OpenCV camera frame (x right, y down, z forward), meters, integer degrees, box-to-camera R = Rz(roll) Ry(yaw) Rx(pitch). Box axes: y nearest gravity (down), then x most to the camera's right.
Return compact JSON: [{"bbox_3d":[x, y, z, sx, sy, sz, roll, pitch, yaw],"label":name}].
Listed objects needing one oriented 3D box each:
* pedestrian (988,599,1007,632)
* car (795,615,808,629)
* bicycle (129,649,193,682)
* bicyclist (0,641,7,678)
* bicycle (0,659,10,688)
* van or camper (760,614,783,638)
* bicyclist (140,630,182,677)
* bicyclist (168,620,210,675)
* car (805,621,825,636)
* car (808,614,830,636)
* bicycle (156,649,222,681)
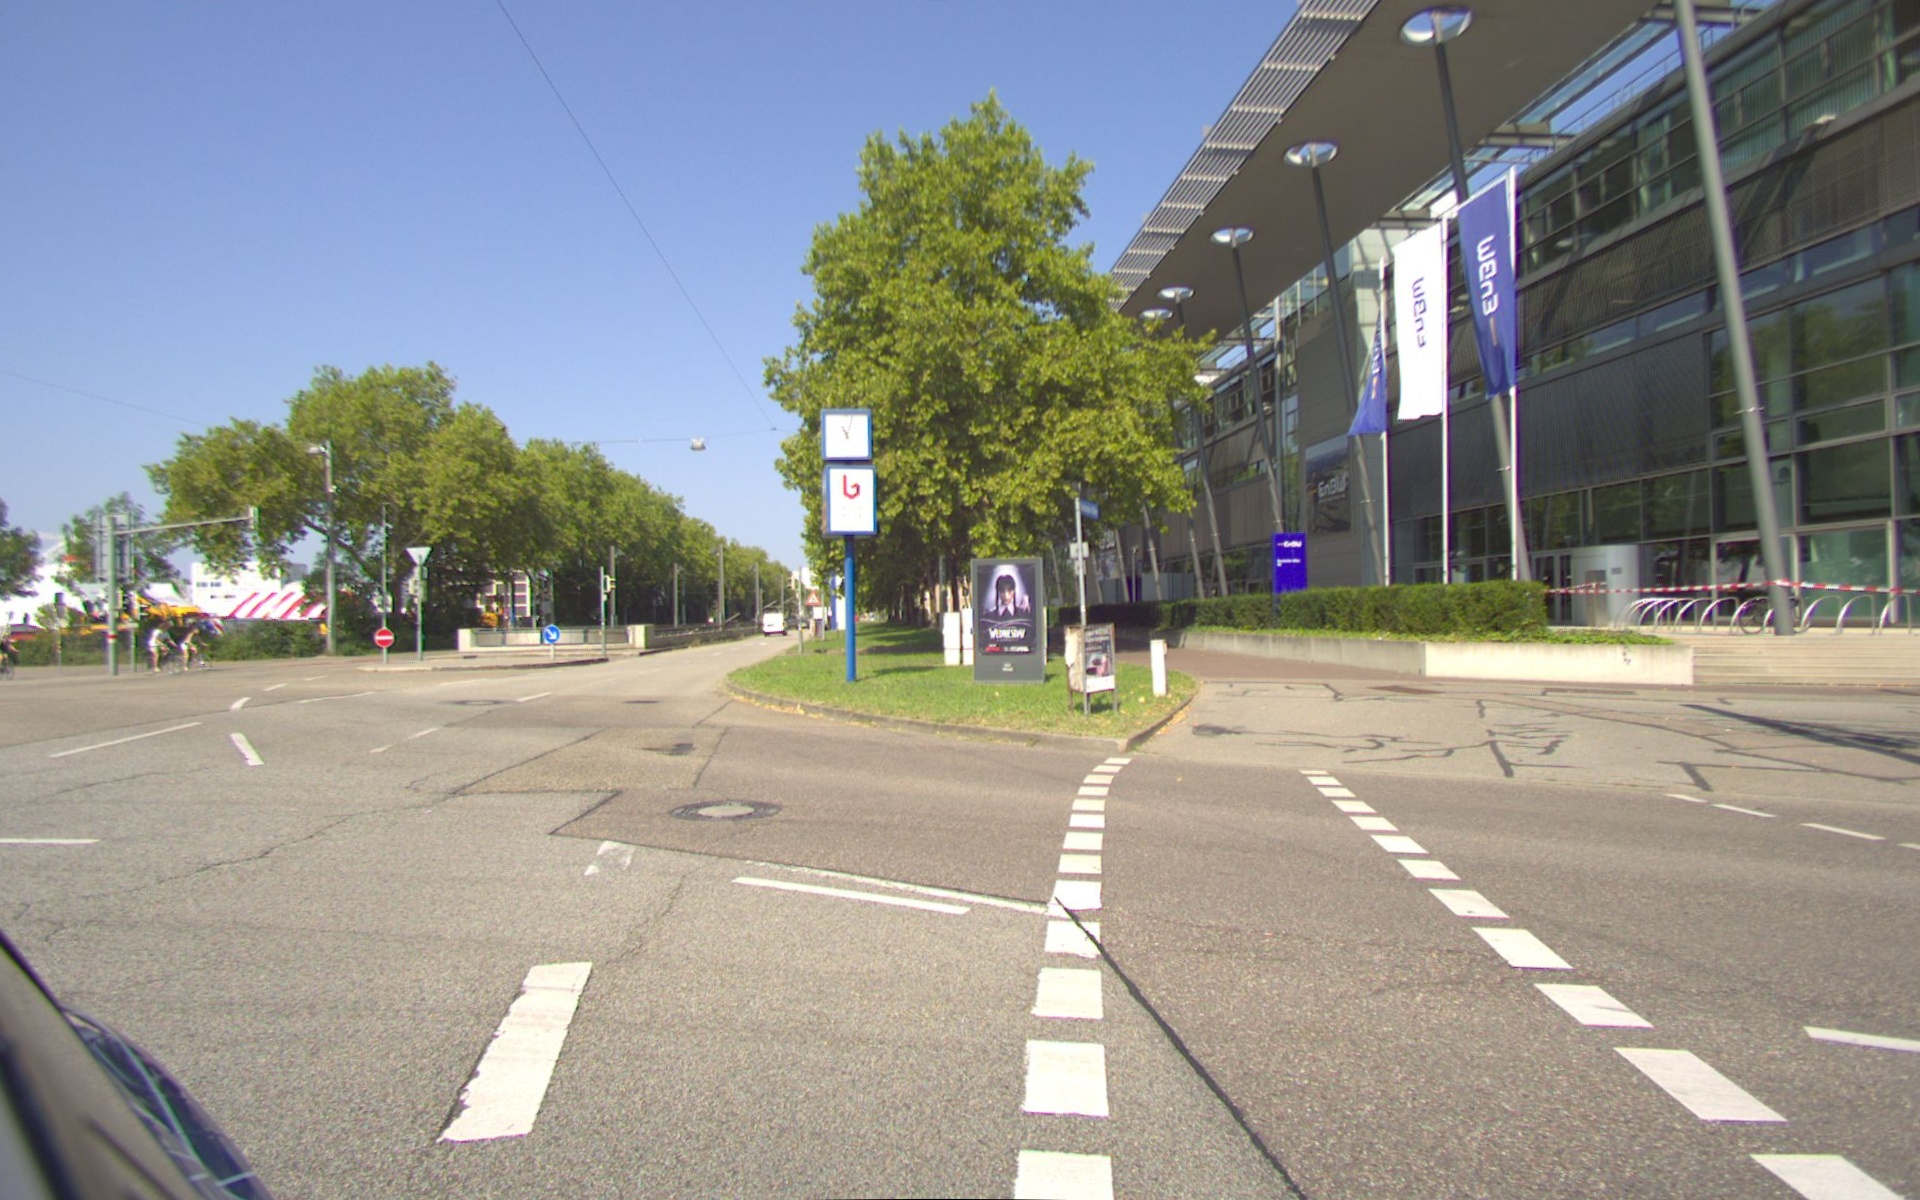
[{"bbox_3d":[2.364,0.966,64.228,0.935,2.029,1.350,-4,-1,-4],"label":"pedestrian"},{"bbox_3d":[-26.243,3.650,167.454,1.968,2.029,4.009,-4,-1,-11],"label":"car"},{"bbox_3d":[-28.779,2.373,36.460,2.203,1.096,0.768,-3,-2,19],"label":"bicycle"},{"bbox_3d":[-36.781,2.294,38.616,0.495,1.375,0.698,-3,-1,-38],"label":"bicyclist"},{"bbox_3d":[-36.681,2.817,38.546,0.564,1.064,1.496,-2,-2,-39],"label":"bicycle"},{"bbox_3d":[-16.145,2.214,86.680,1.817,1.962,4.957,-1,-2,-10],"label":"van or camper"},{"bbox_3d":[-28.787,1.938,36.452,1.195,1.606,0.594,-4,-1,19],"label":"bicyclist"},{"bbox_3d":[-29.565,1.816,38.806,1.193,2.029,0.595,-3,-1,14],"label":"bicyclist"},{"bbox_3d":[-15.694,3.106,109.349,1.969,1.464,4.006,-4,-1,-7],"label":"car"},{"bbox_3d":[-15.883,2.838,114.452,2.257,2.249,4.663,-4,-1,-7],"label":"car"},{"bbox_3d":[-29.602,2.495,38.871,2.240,1.096,0.769,-3,-3,13],"label":"bicycle"}]
